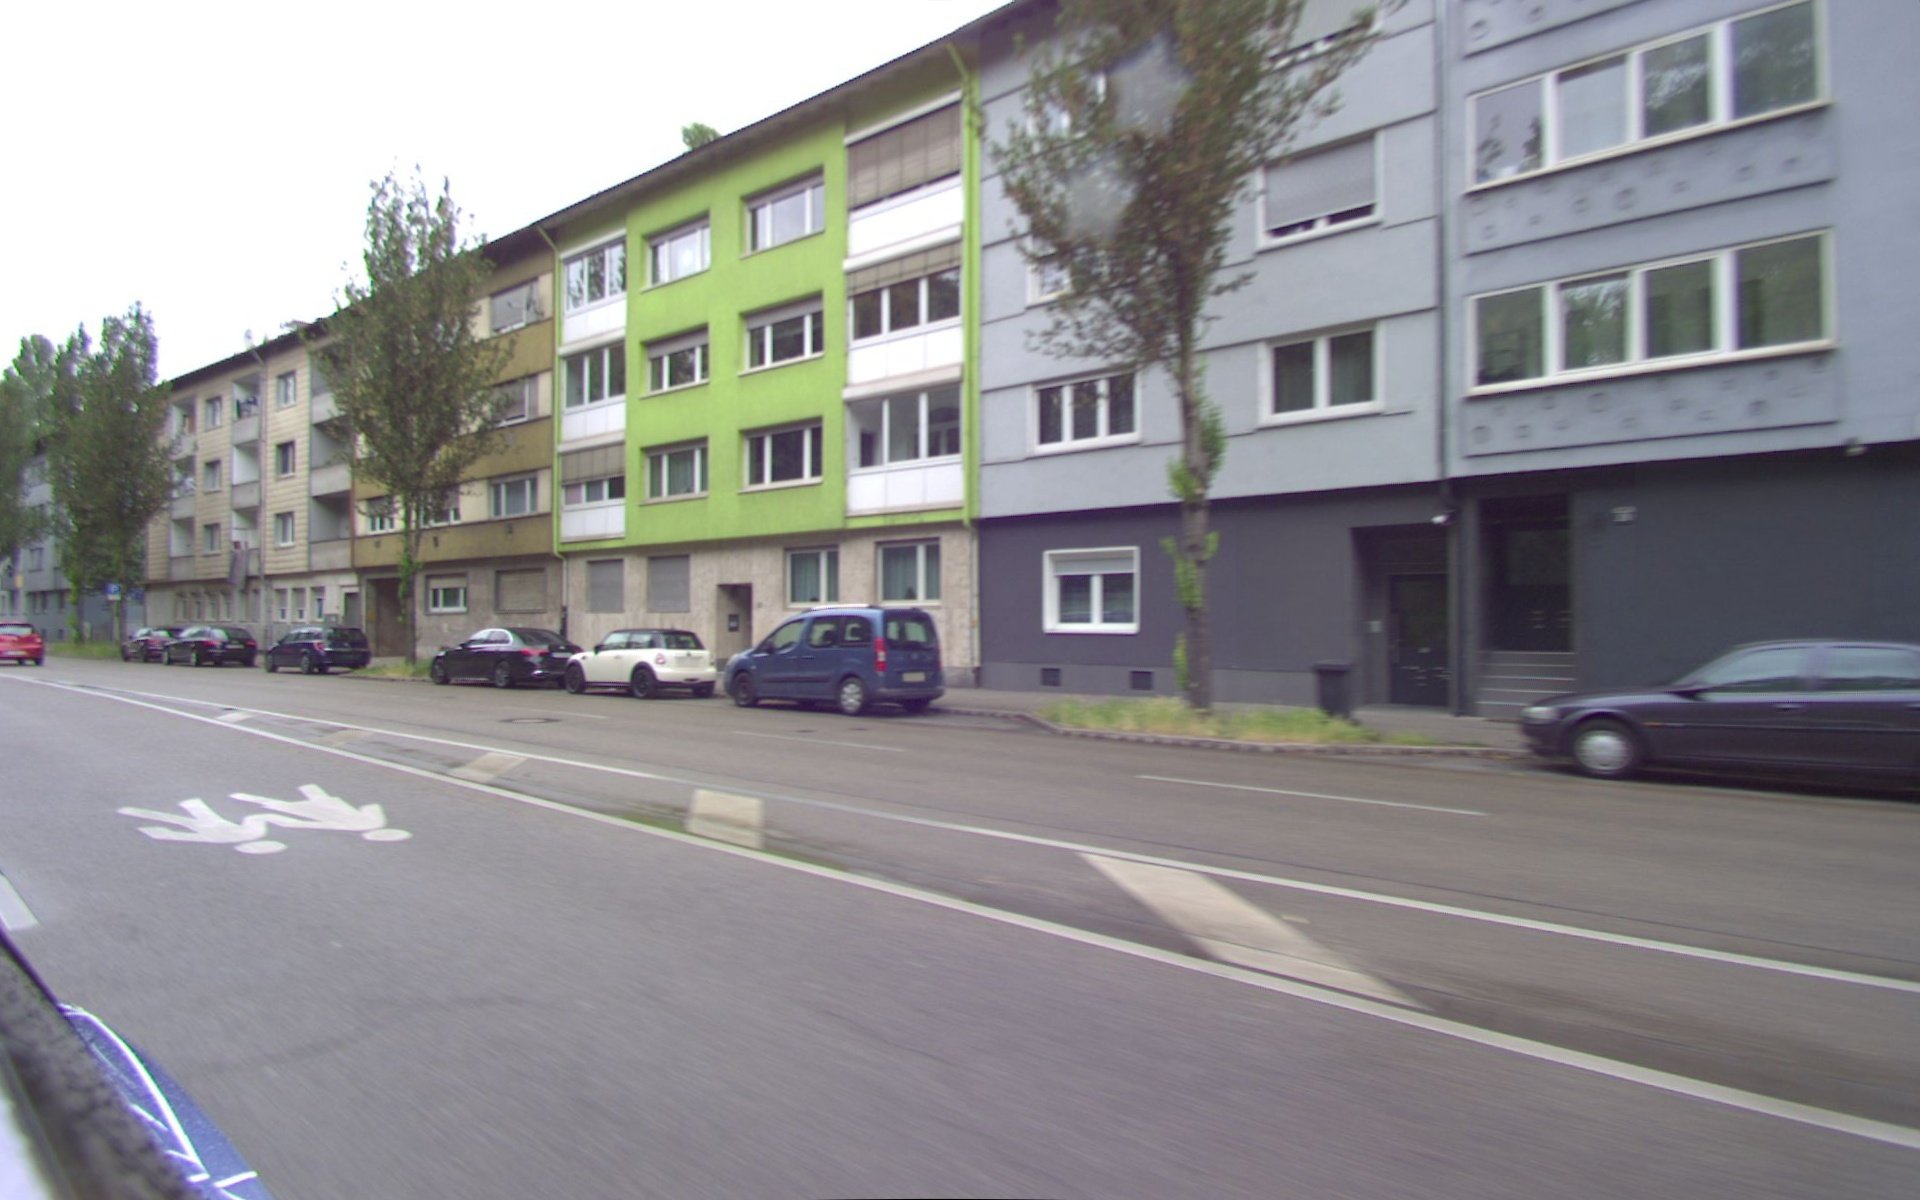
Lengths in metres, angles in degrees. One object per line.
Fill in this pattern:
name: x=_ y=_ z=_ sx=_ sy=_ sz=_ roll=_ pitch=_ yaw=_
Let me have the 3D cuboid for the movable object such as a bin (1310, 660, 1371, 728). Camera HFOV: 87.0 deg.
movable object such as a bin: x=4.839 y=1.180 z=12.868 sx=0.609 sy=0.823 sz=0.465 roll=-1 pitch=-3 yaw=38

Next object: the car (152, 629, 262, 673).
car: x=-27.507 y=1.852 z=36.909 sx=4.779 sy=1.500 sz=1.801 roll=-1 pitch=-4 yaw=35

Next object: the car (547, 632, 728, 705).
car: x=-6.880 y=1.408 z=21.435 sx=3.994 sy=1.386 sz=1.664 roll=-1 pitch=-4 yaw=38

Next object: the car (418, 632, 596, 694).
car: x=-11.005 y=1.482 z=24.470 sx=4.670 sy=1.383 sz=1.801 roll=-1 pitch=-4 yaw=36

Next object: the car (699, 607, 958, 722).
car: x=-2.408 y=1.068 z=17.879 sx=4.595 sy=1.780 sz=1.872 roll=-1 pitch=-3 yaw=39

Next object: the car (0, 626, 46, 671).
car: x=-32.891 y=1.634 z=34.657 sx=3.675 sy=1.489 sz=1.690 roll=-1 pitch=-3 yaw=38

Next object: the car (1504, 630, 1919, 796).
car: x=7.837 y=1.010 z=9.523 sx=4.573 sy=1.368 sz=1.672 roll=-1 pitch=-5 yaw=39

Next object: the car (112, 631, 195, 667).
car: x=-32.323 y=1.947 z=40.548 sx=3.981 sy=1.397 sz=1.611 roll=-1 pitch=-3 yaw=37

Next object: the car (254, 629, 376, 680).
car: x=-20.231 y=1.687 z=31.673 sx=4.506 sy=1.500 sz=1.702 roll=-1 pitch=-4 yaw=37
